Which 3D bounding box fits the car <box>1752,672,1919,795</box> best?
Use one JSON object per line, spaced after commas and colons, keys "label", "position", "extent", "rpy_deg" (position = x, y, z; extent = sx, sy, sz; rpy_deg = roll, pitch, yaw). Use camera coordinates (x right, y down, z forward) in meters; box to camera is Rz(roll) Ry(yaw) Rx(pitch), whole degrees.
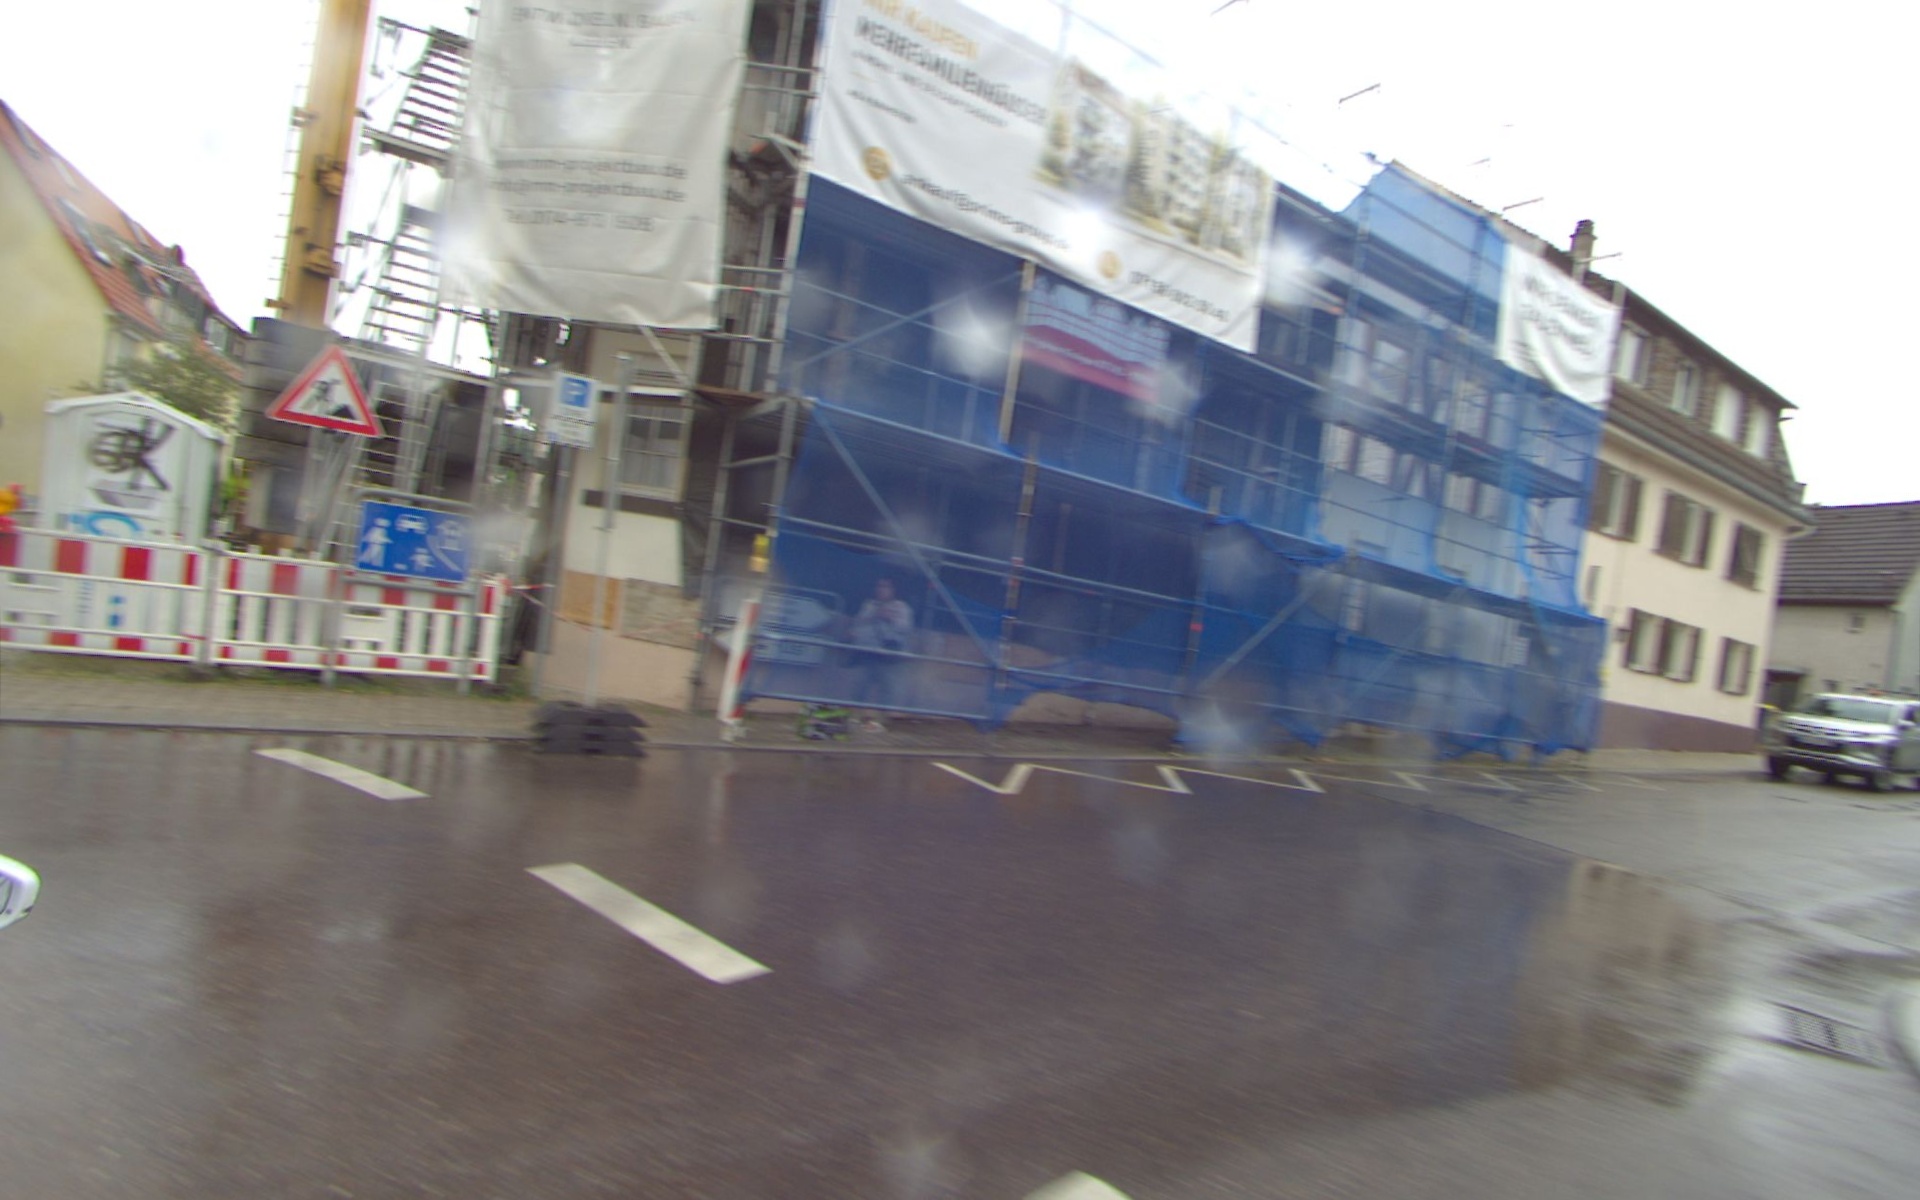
{"label": "car", "position": [17.940, 2.691, 20.051], "extent": [4.470, 2.000, 1.813], "rpy_deg": [7, 1, -32]}
